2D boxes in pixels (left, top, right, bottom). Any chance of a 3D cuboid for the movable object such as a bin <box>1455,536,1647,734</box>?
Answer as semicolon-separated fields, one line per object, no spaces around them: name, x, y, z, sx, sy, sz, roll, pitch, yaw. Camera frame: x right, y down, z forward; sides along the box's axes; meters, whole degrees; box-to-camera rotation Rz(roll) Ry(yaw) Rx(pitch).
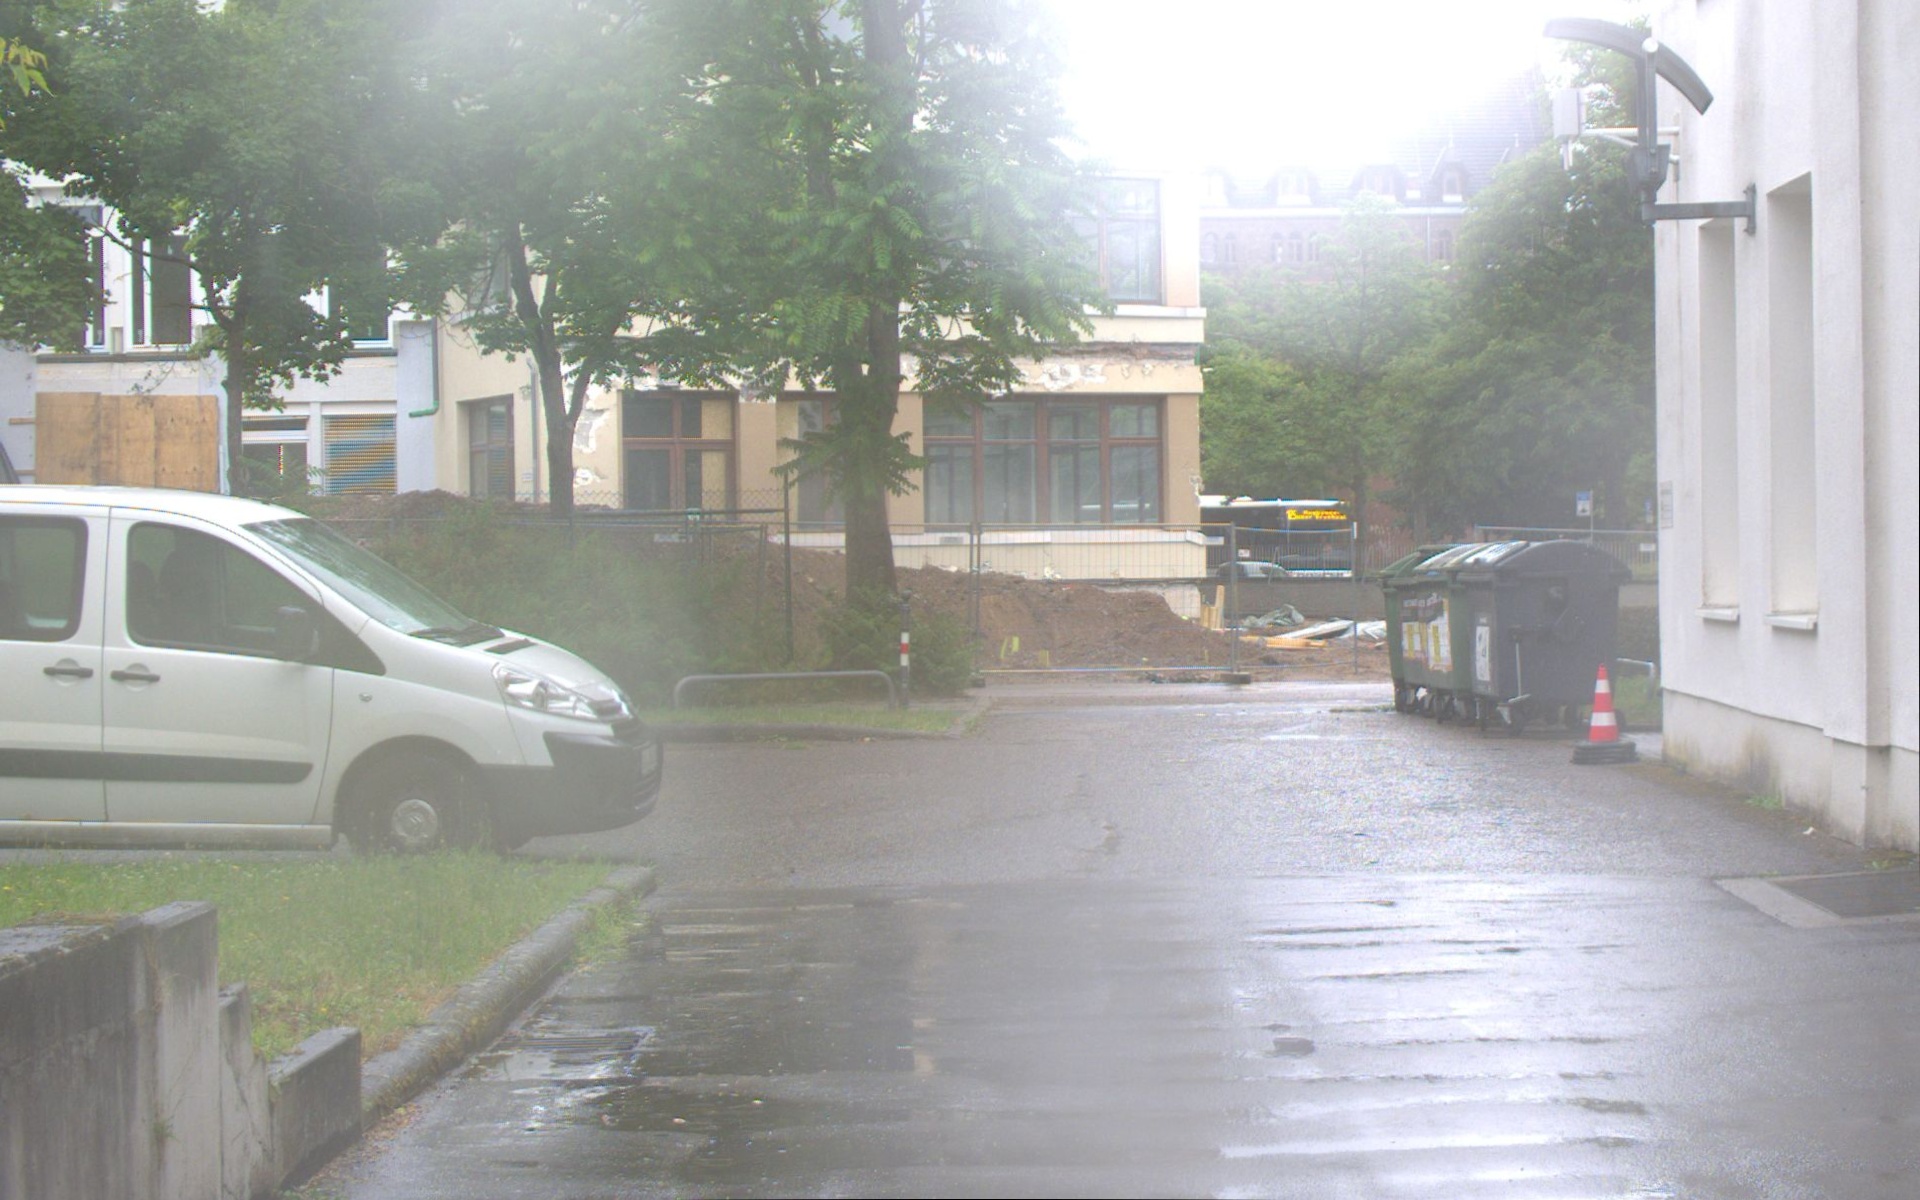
movable object such as a bin;4.392;0.268;25.641;1.214;1.432;1.236;0;-1;1

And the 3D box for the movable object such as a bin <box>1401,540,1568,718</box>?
movable object such as a bin;4.404;0.256;28.969;1.214;1.463;1.236;0;-1;1

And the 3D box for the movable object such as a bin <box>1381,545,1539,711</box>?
movable object such as a bin;4.395;0.254;30.347;1.214;1.432;1.259;0;-1;1

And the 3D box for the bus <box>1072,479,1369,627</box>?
bus;7.439;-1.250;100.911;2.806;3.861;12.057;0;-2;-27

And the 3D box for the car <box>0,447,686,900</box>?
car;-3.876;0.342;16.757;4.781;2.007;2.000;-1;1;4

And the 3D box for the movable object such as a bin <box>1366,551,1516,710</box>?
movable object such as a bin;4.426;0.287;31.725;1.214;1.432;1.259;0;-1;1

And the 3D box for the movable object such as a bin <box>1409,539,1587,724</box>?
movable object such as a bin;4.258;0.259;27.341;1.214;1.432;1.294;0;-1;1
